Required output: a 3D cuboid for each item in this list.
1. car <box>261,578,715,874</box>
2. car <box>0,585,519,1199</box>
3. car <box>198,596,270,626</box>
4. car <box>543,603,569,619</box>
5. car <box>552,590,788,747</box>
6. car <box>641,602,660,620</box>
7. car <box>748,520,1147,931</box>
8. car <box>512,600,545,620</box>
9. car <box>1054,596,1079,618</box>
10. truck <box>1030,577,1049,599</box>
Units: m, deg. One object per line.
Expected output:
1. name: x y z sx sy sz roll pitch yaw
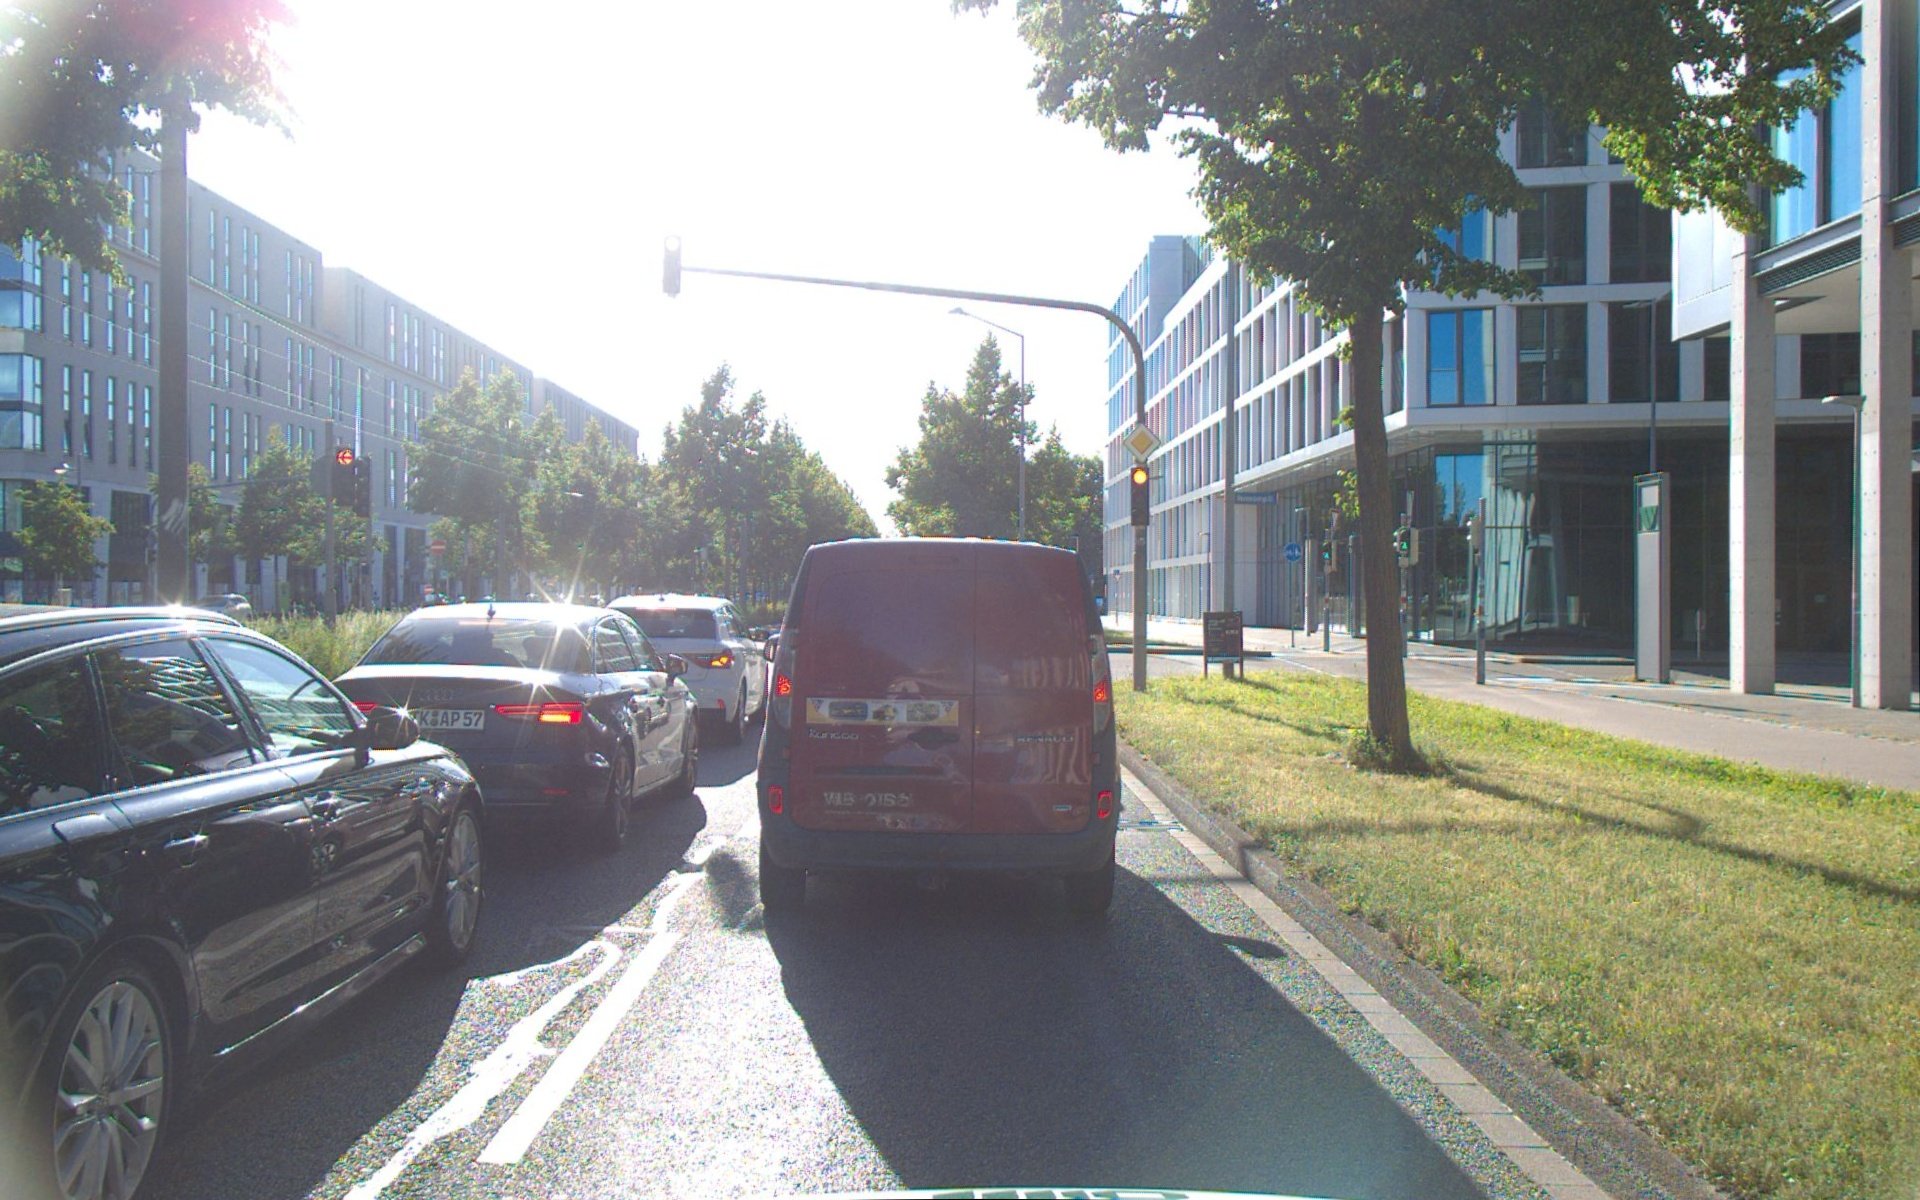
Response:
1. car: -2.782 0.653 10.753 1.771 1.554 4.113 0 0 0
2. car: -2.738 0.702 4.818 1.771 1.482 4.507 0 0 -1
3. car: -34.636 0.520 79.051 1.548 1.366 4.470 0 0 -1
4. car: -36.375 0.970 149.020 1.548 1.366 3.711 0 0 -1
5. car: -2.911 0.625 17.455 1.771 1.460 4.113 0 0 0
6. car: -37.090 1.312 198.405 1.694 2.049 3.998 0 0 -3
7. car: -0.058 0.549 9.420 1.771 1.825 4.113 0 0 0
8. car: -35.452 0.820 135.945 1.740 1.555 3.805 0 0 -1
9. car: 8.207 0.530 127.988 1.722 1.640 3.903 0 0 0
10. truck: 9.554 -1.385 198.804 1.794 2.545 5.930 0 0 -1
